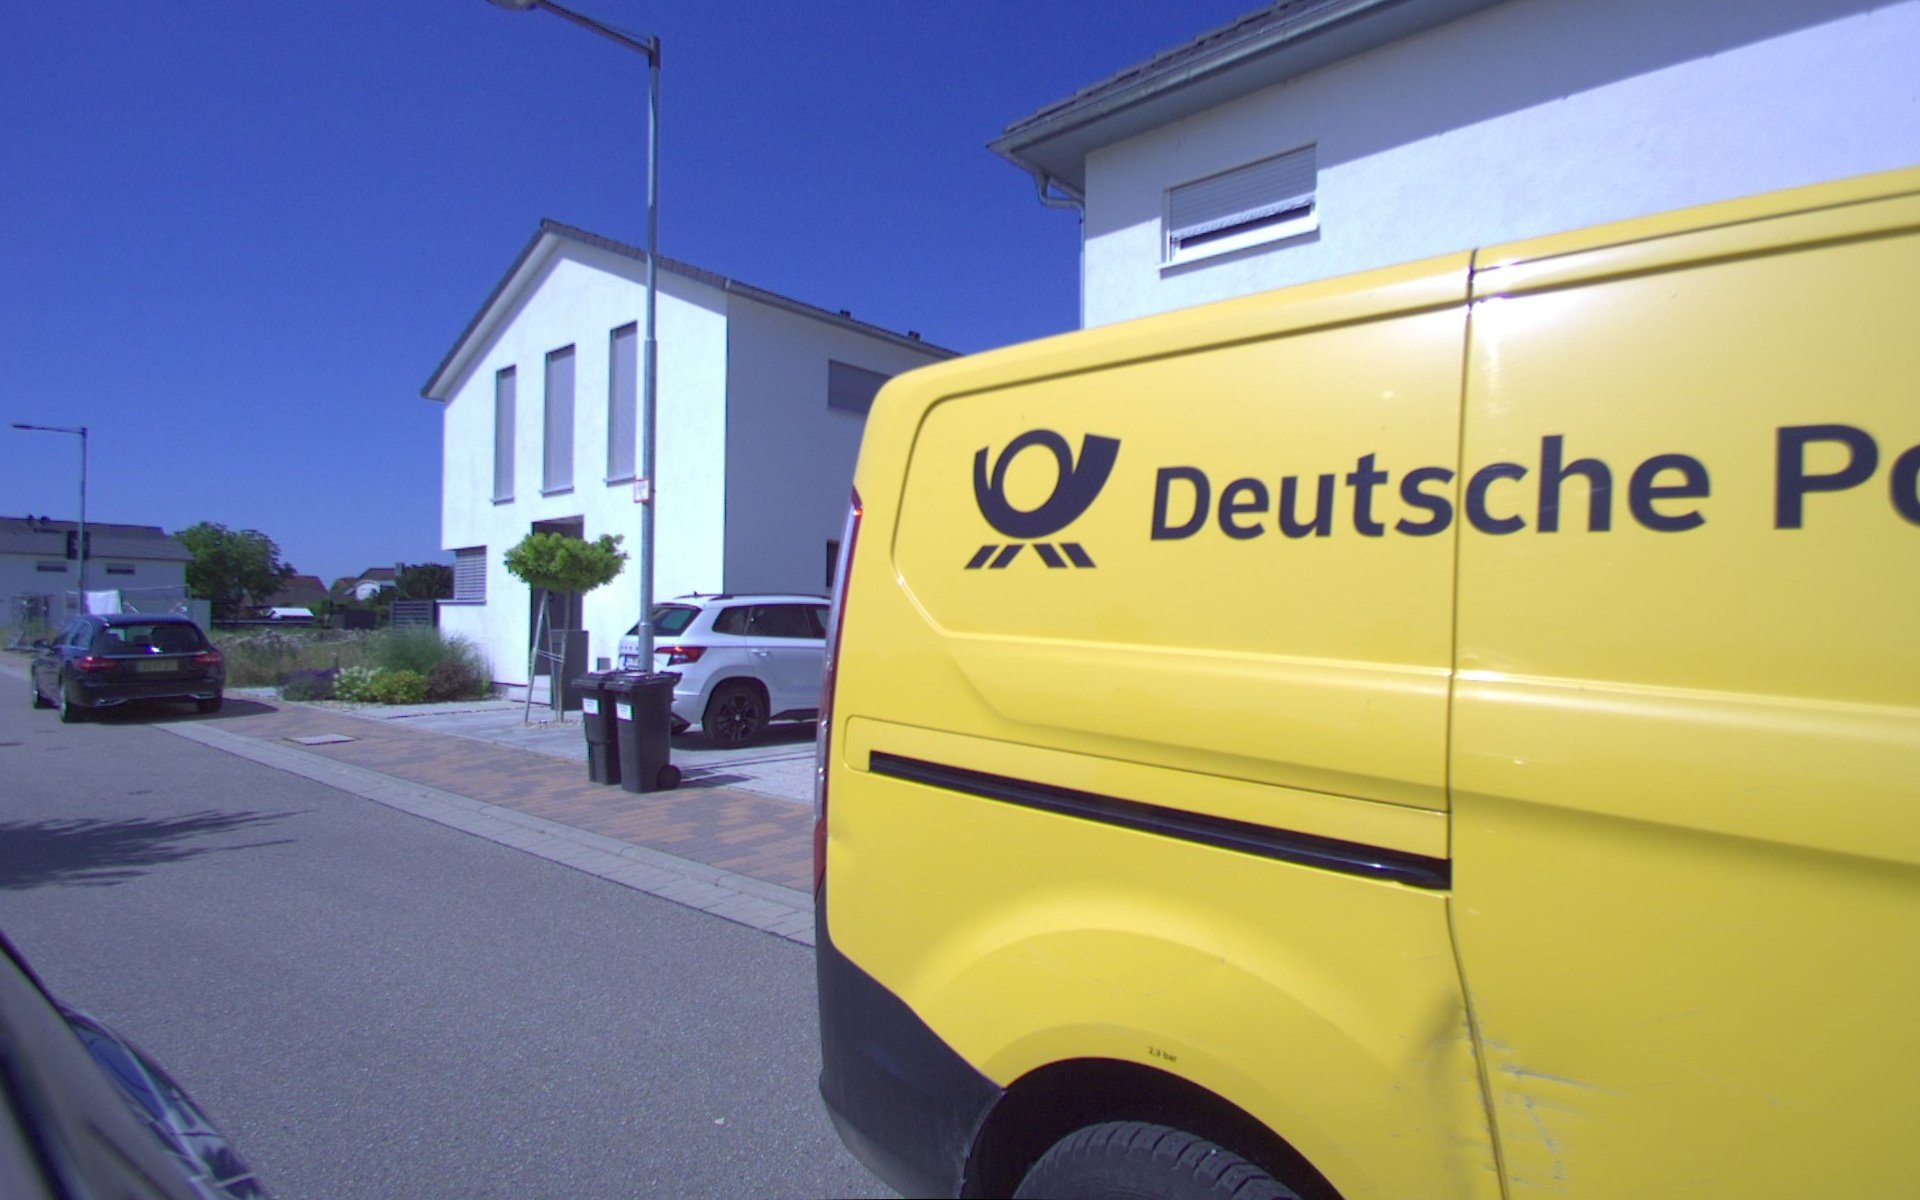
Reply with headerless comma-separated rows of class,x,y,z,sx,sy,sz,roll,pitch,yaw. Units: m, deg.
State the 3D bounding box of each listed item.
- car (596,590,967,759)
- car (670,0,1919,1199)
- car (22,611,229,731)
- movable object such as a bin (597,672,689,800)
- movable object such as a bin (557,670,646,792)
car,-1.963,0.740,11.760,3.906,1.631,1.796,0,-1,-42
car,1.887,0.321,1.359,4.833,2.029,1.866,-1,-1,37
car,-12.322,0.930,14.836,4.443,1.484,1.673,-1,0,42
movable object such as a bin,-2.515,1.057,8.033,0.530,0.932,0.481,-1,-2,38
movable object such as a bin,-2.959,1.058,8.359,0.530,0.932,0.481,-1,-2,38
